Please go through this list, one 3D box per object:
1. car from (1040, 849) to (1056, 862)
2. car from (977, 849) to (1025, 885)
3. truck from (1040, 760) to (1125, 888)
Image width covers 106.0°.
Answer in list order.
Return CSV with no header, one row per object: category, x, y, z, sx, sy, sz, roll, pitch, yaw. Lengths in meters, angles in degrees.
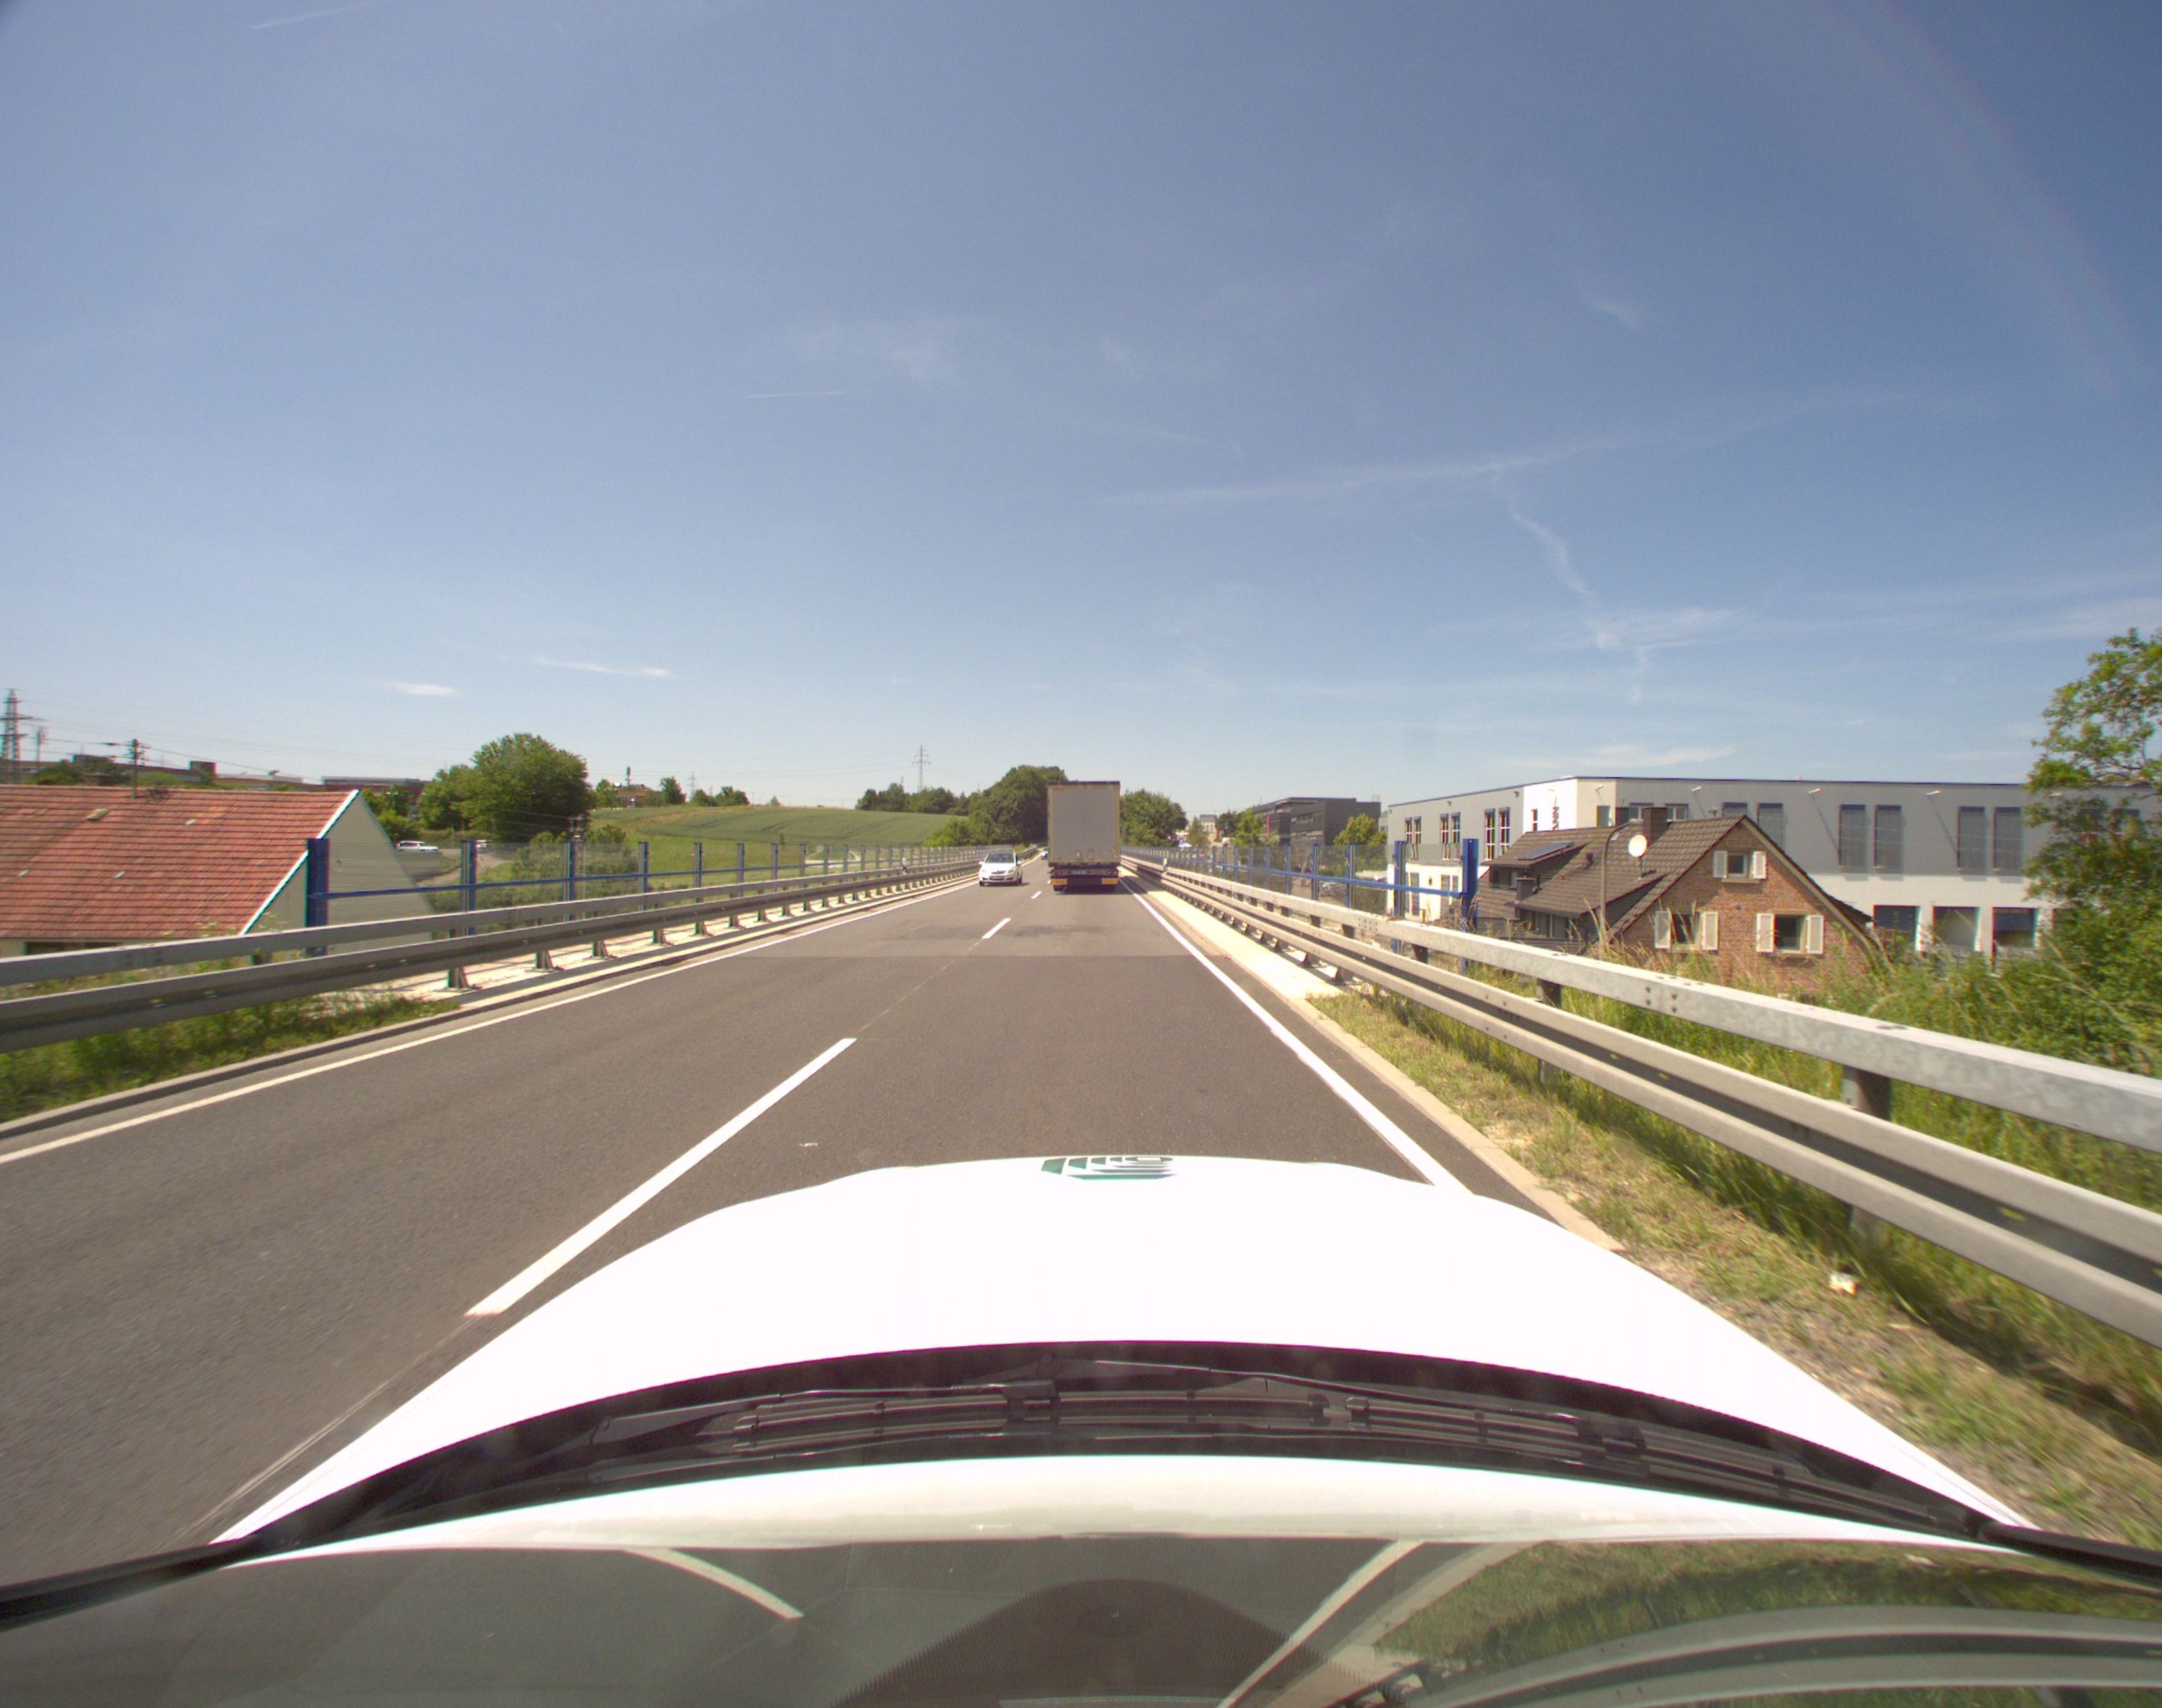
car,-3.817,0.118,95.078,1.776,1.435,4.833,-1,0,-1
car,-3.583,0.549,36.876,1.701,1.505,4.119,-1,0,0
truck,0.036,-0.993,33.028,2.857,4.359,9.785,-1,-1,0
